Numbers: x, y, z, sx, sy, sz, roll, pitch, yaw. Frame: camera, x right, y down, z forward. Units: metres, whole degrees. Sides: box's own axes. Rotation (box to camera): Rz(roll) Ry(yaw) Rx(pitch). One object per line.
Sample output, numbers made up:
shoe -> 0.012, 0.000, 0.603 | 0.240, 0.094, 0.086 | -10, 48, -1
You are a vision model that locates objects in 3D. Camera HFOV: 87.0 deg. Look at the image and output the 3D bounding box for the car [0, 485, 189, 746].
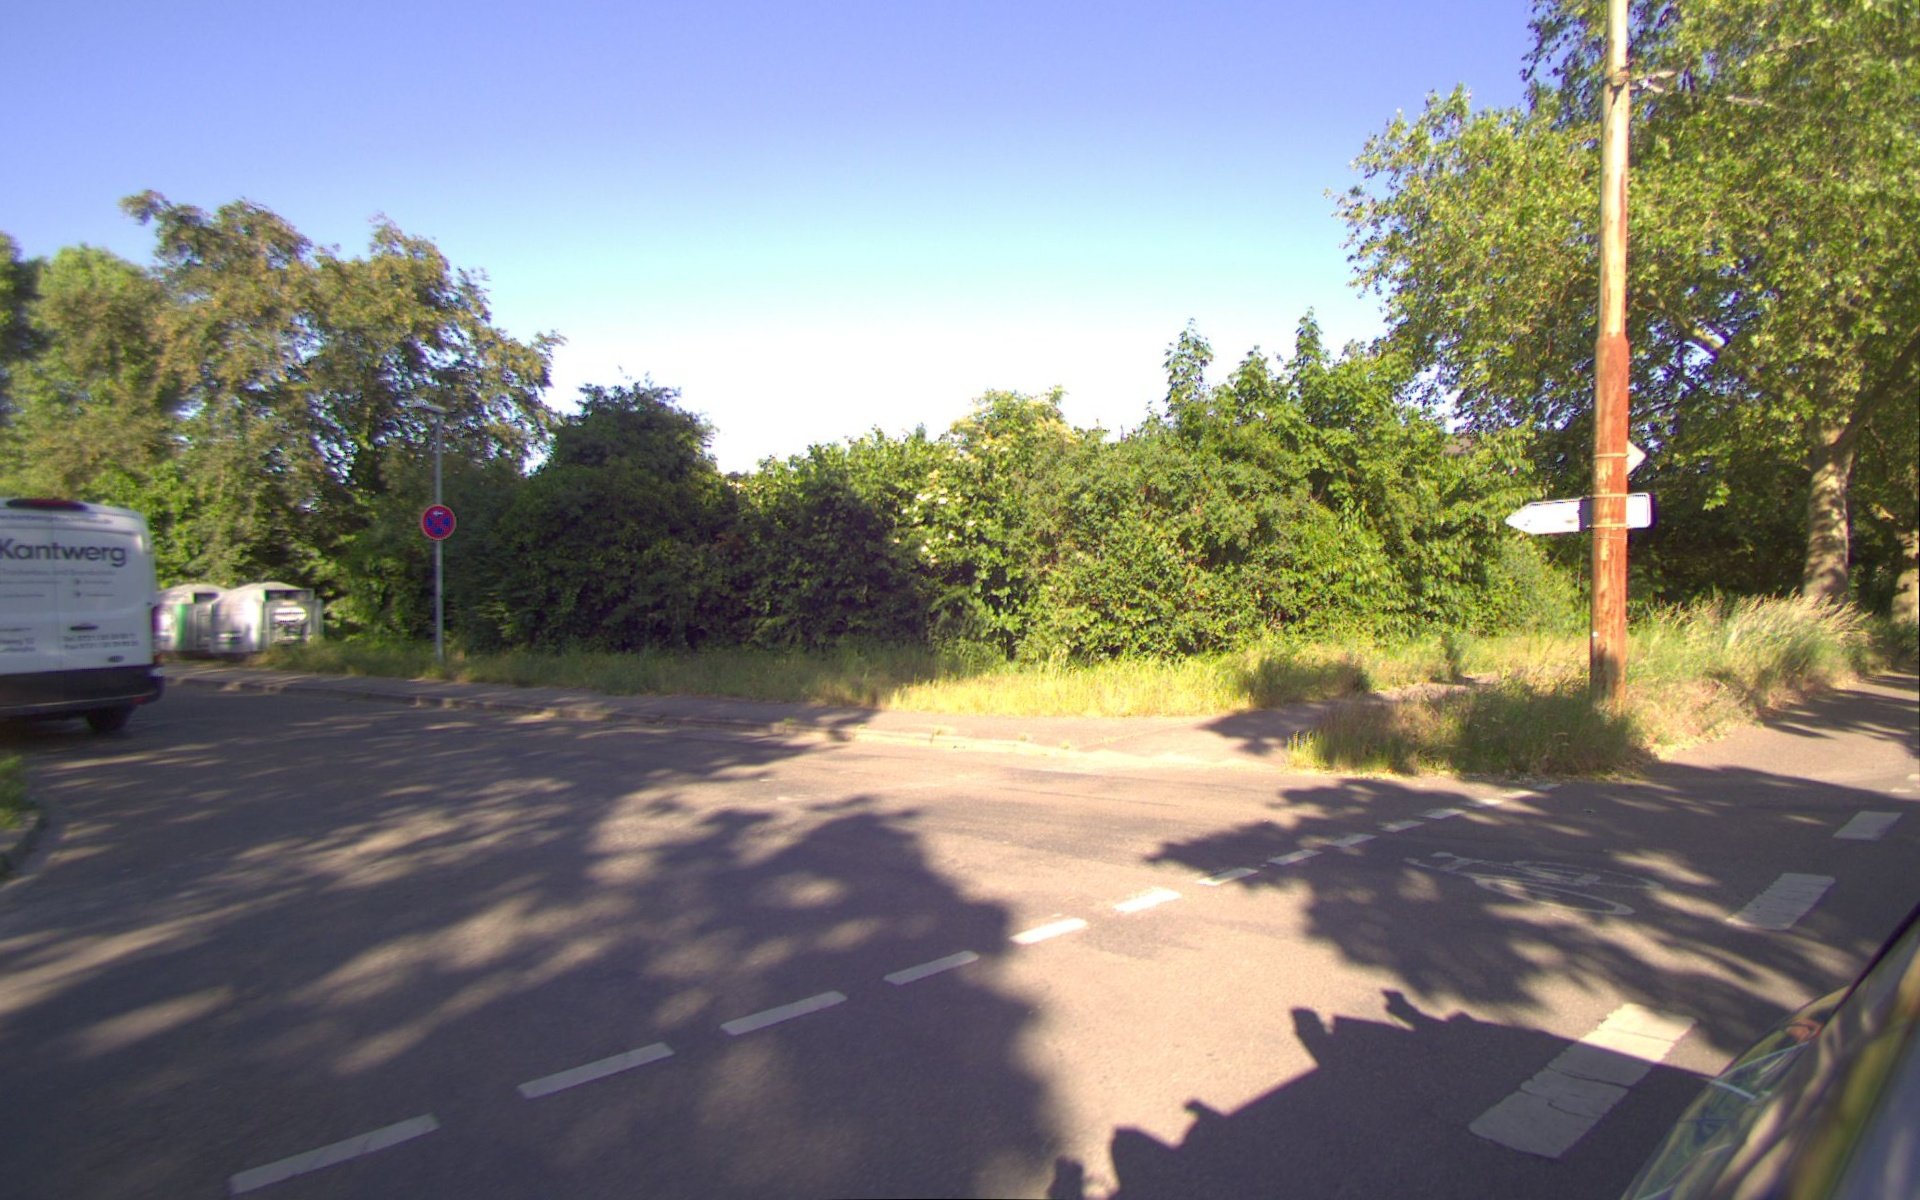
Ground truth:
car -> -11.109, 0.170, 11.084 | 4.949, 2.470, 2.309 | -1, -1, 26
